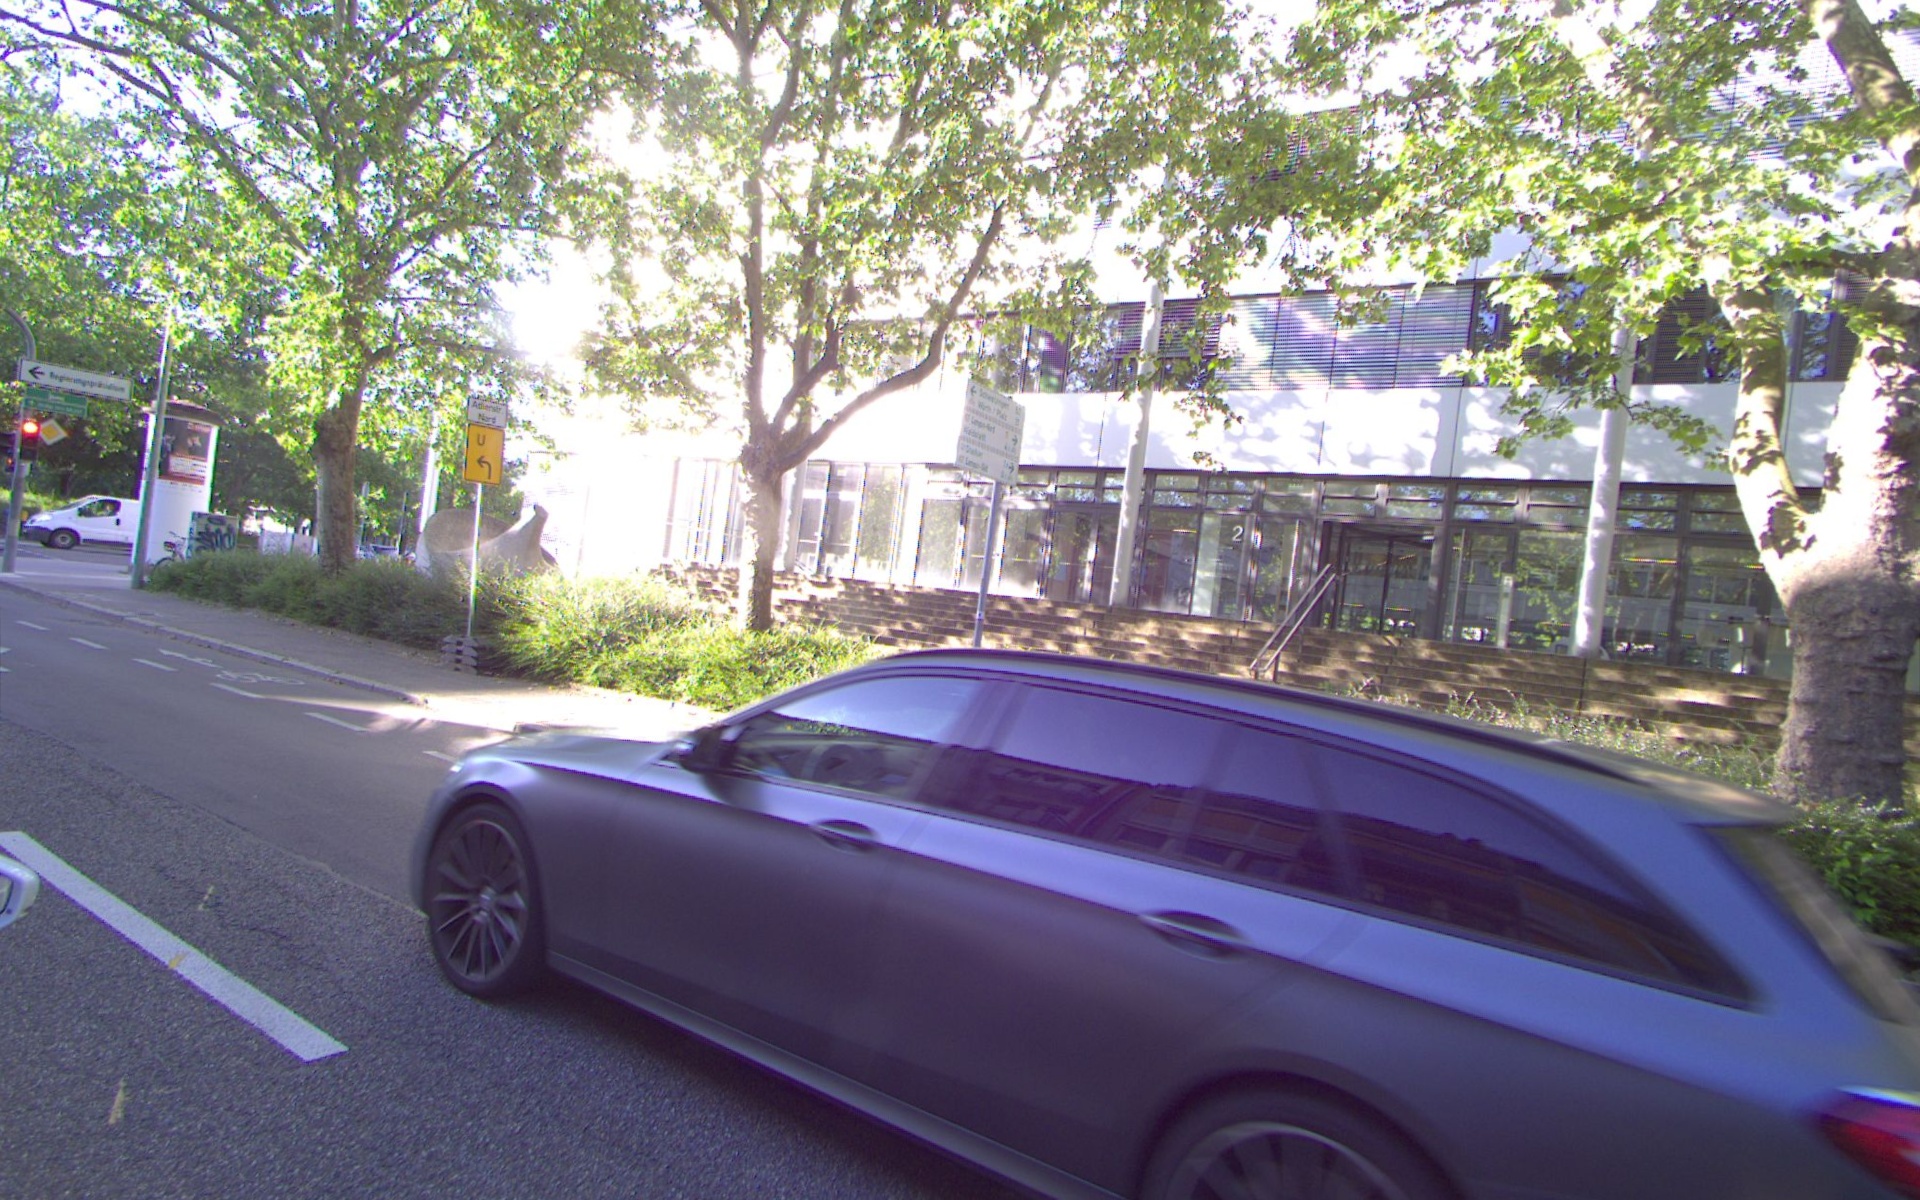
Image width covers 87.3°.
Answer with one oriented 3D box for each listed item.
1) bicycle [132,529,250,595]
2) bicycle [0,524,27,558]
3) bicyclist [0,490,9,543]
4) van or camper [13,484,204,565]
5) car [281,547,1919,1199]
[{"bbox_3d":[-16.021,-0.774,21.001,0.502,1.110,1.806,7,-1,34],"label":"bicycle"},{"bbox_3d":[-26.489,-1.693,26.994,0.666,0.846,1.976,7,-1,34],"label":"bicycle"},{"bbox_3d":[-26.424,-2.321,26.975,0.647,1.419,1.104,7,-1,34],"label":"bicyclist"},{"bbox_3d":[-29.062,-2.543,34.461,1.970,1.964,4.579,7,-2,38],"label":"van or camper"},{"bbox_3d":[-0.044,0.876,3.434,4.592,1.480,1.918,7,-3,32],"label":"car"}]
